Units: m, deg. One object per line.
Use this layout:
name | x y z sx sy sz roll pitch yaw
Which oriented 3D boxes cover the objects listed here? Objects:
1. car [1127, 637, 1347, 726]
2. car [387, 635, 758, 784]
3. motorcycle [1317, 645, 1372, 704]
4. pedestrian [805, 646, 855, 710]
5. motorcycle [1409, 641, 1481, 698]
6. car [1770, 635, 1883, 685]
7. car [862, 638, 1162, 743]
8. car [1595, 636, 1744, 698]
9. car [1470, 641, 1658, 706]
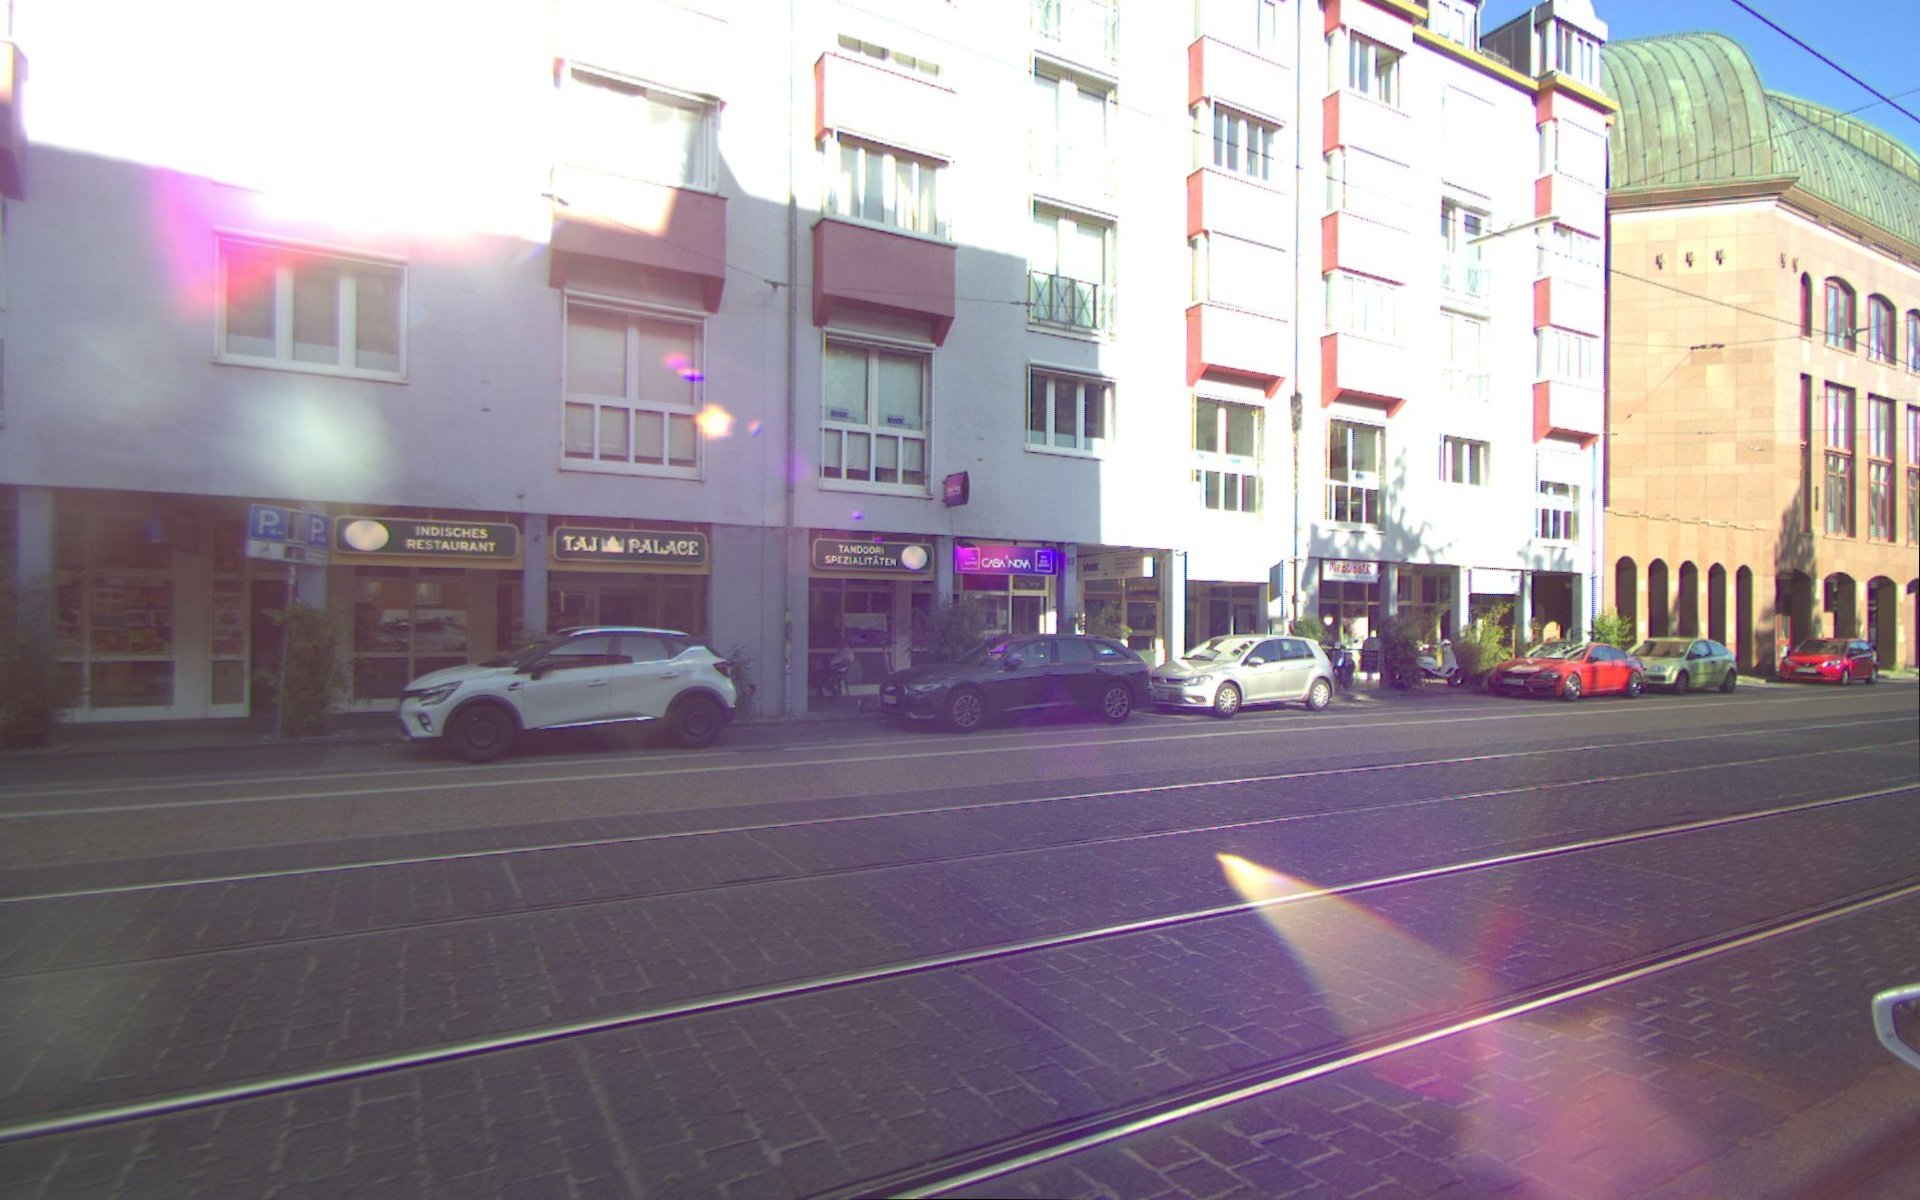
car | 5.342 1.471 19.242 4.161 1.494 1.742 1 -1 -32
car | -5.075 1.310 13.325 4.322 1.635 1.907 1 -1 -32
motorcycle | 8.828 1.684 23.006 0.455 1.210 2.070 1 0 42
pedestrian | -2.548 1.511 19.649 0.771 1.202 0.668 1 -2 -31
motorcycle | 11.948 1.684 24.730 2.057 1.315 0.516 0 0 -31
car | 27.921 1.888 32.352 3.577 1.441 1.651 1 0 -30
car | 0.921 1.391 16.715 4.769 1.477 1.893 1 -1 -30
car | 19.184 1.754 27.132 4.239 1.488 1.661 1 0 -30
car | 14.929 1.747 24.767 4.765 1.343 1.950 1 0 -31
